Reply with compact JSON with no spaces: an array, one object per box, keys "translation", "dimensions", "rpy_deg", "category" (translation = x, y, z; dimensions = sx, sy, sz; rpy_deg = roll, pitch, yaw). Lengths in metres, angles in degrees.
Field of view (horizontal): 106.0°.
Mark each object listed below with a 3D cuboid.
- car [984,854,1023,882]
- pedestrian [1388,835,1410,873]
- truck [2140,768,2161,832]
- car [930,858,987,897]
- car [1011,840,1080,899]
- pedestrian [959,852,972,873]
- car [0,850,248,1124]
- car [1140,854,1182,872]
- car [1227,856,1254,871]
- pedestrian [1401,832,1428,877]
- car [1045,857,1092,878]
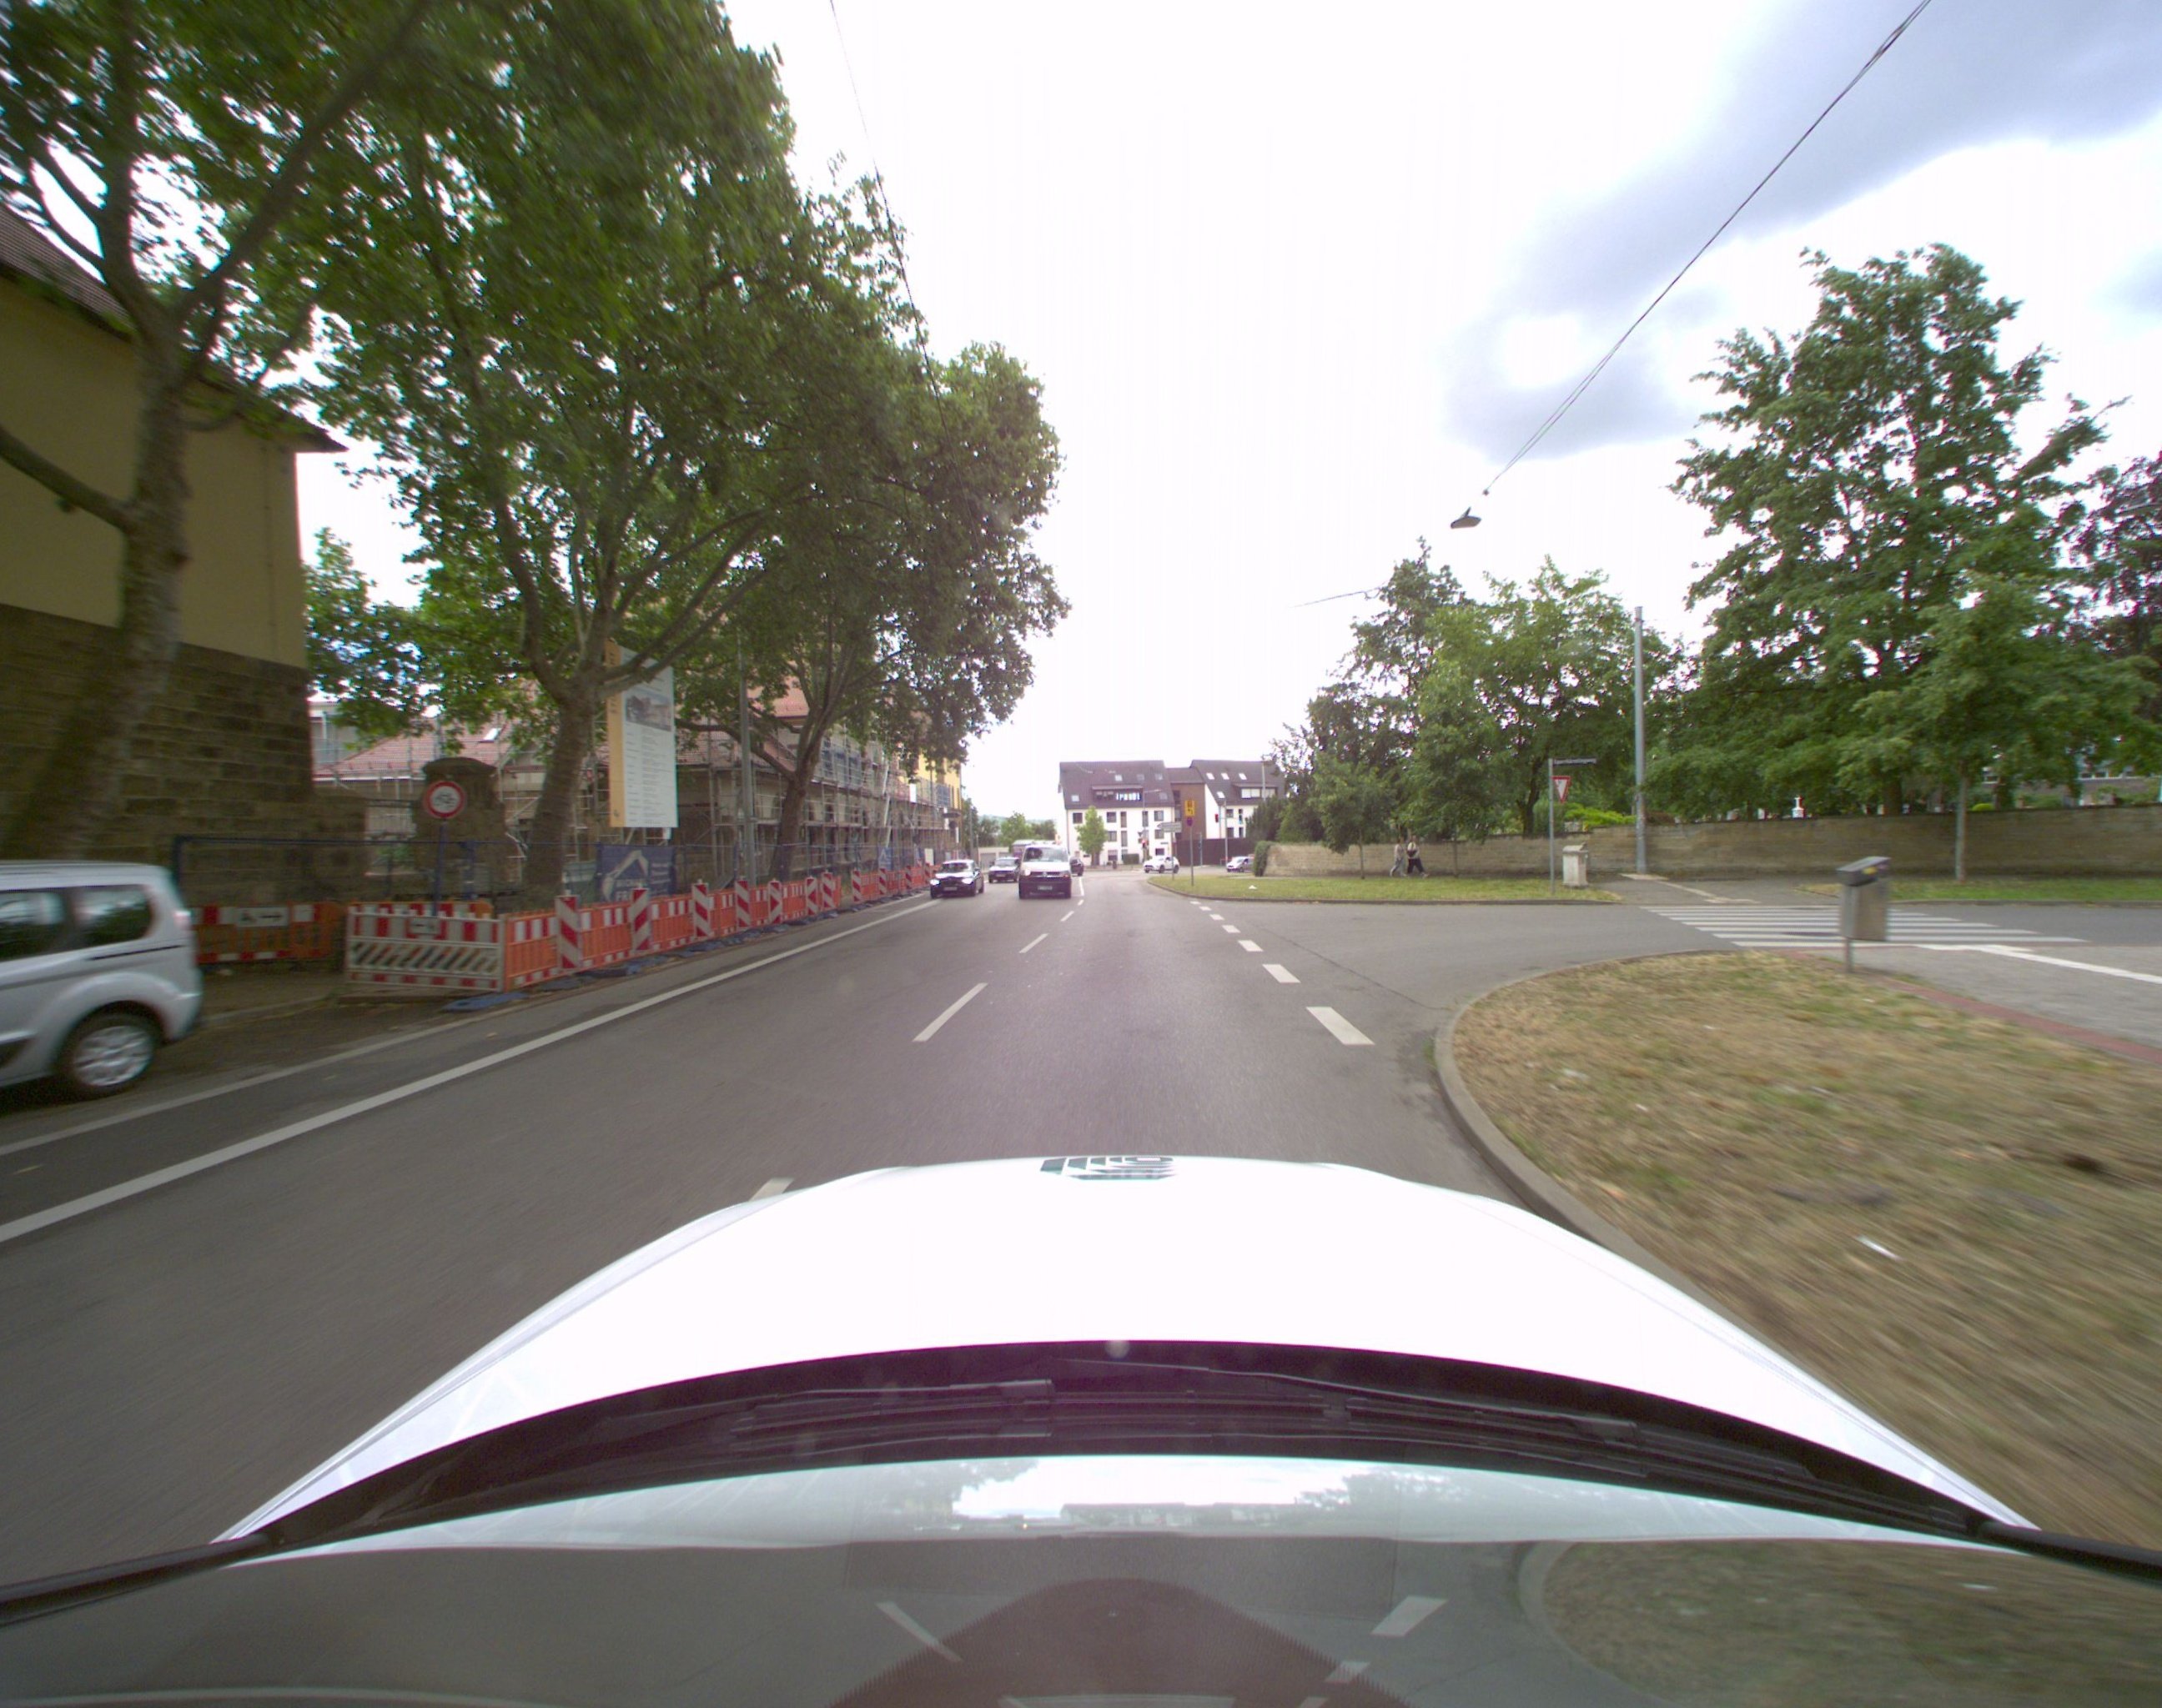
[{"translation":[-4.436,0.779,46.977],"dimensions":[1.796,1.458,4.634],"rpy_deg":[-2,0,-1],"category":"car"},{"translation":[13.744,0.014,35.194],"dimensions":[0.583,1.585,0.569],"rpy_deg":[-4,1,-29],"category":"pedestrian"},{"translation":[49.077,-2.461,34.148],"dimensions":[2.203,2.835,5.775],"rpy_deg":[0,-1,6],"category":"truck"},{"translation":[-4.940,0.904,33.319],"dimensions":[1.694,1.426,4.247],"rpy_deg":[-2,0,-1],"category":"car"},{"translation":[-1.228,0.540,30.607],"dimensions":[2.197,1.931,5.240],"rpy_deg":[-2,0,1],"category":"car"},{"translation":[-9.668,0.701,68.187],"dimensions":[0.919,1.720,0.799],"rpy_deg":[0,-1,2],"category":"pedestrian"},{"translation":[-8.345,0.944,5.012],"dimensions":[1.828,1.876,4.415],"rpy_deg":[-2,0,0],"category":"car"},{"translation":[7.671,0.889,77.909],"dimensions":[1.774,1.611,4.536],"rpy_deg":[-2,-2,39],"category":"car"},{"translation":[17.524,1.079,89.368],"dimensions":[1.676,1.614,4.108],"rpy_deg":[0,-1,30],"category":"car"},{"translation":[13.219,0.013,32.296],"dimensions":[0.715,1.734,0.654],"rpy_deg":[-2,0,-34],"category":"pedestrian"},{"translation":[-0.875,0.979,60.362],"dimensions":[1.683,1.426,4.275],"rpy_deg":[-1,0,27],"category":"car"}]
